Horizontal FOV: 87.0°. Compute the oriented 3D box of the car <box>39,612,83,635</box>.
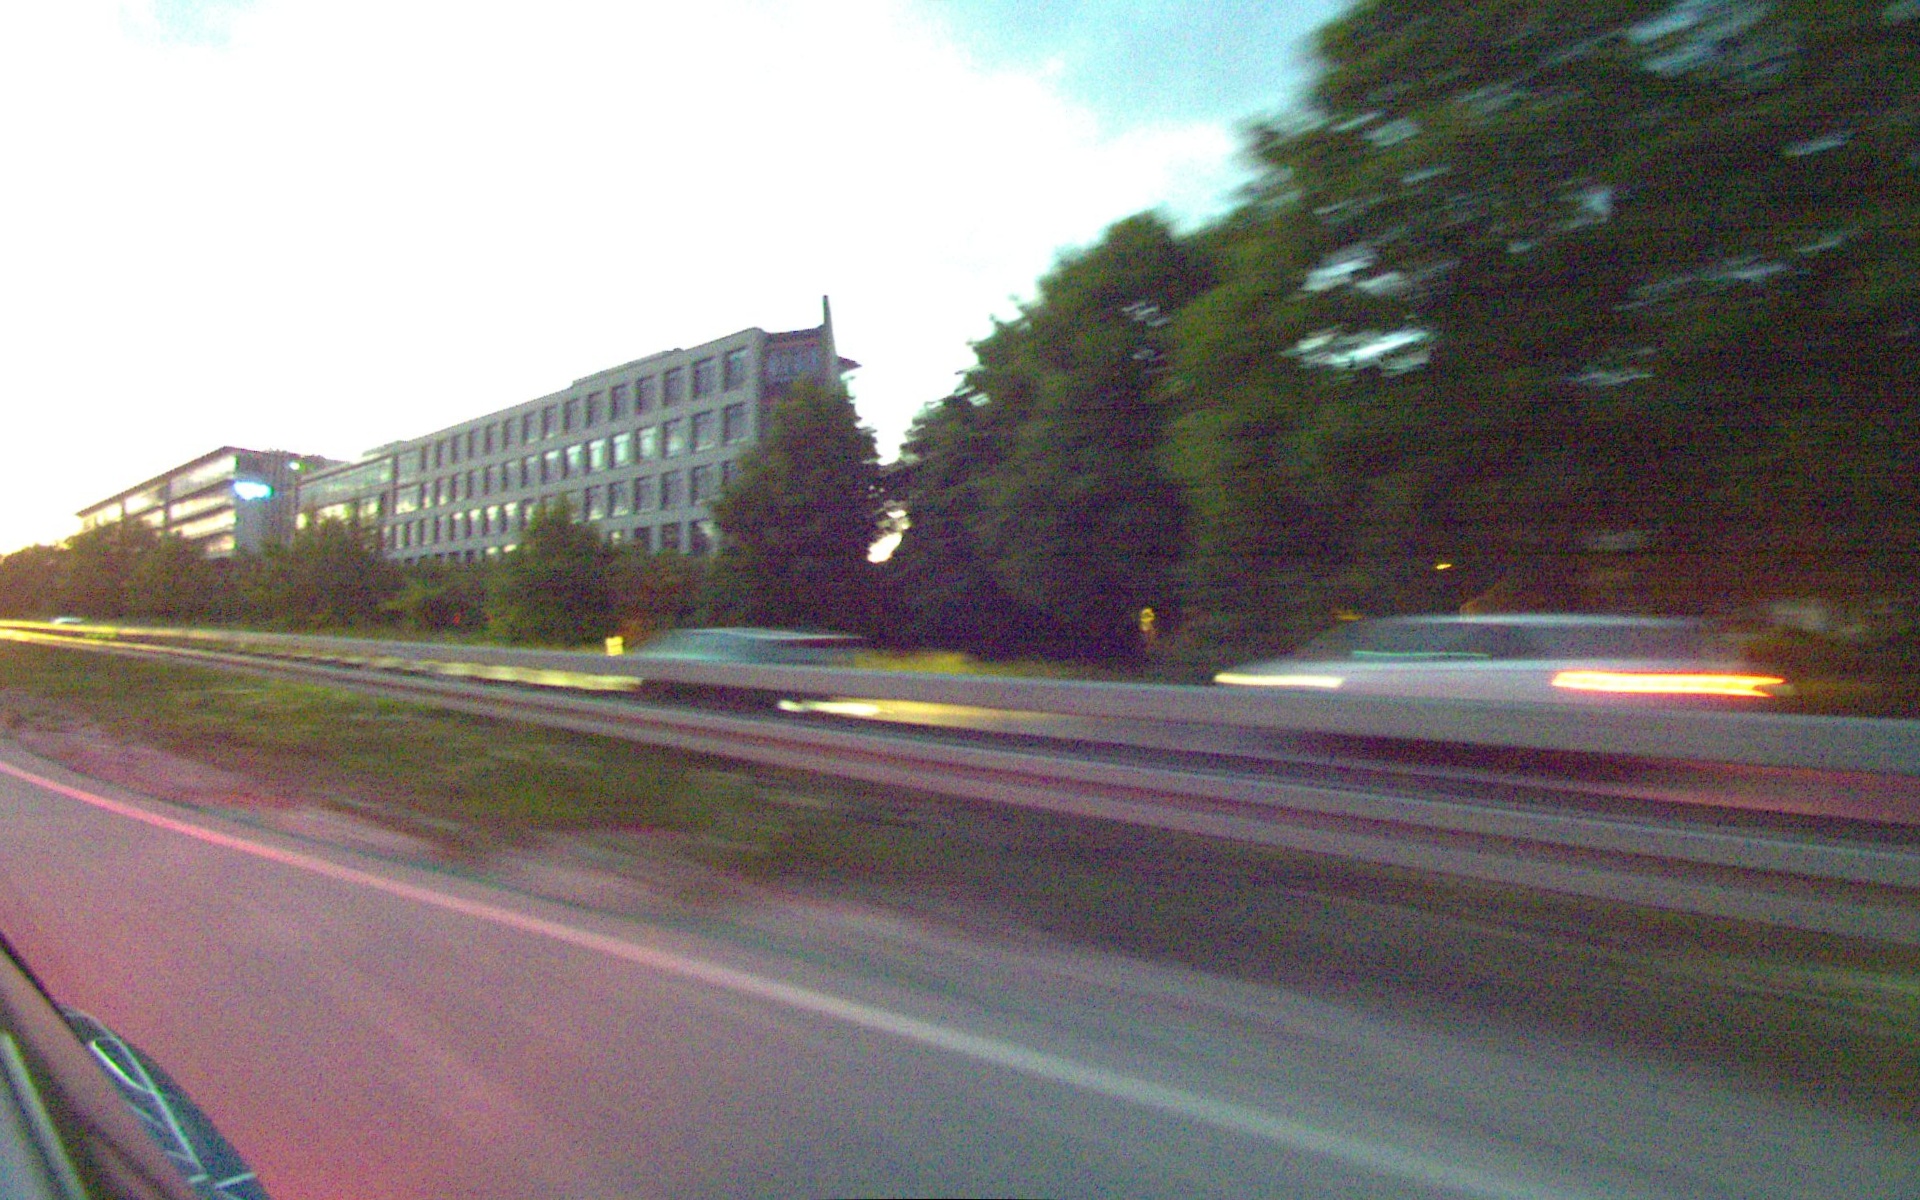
[{"bbox_3d":[-65.741,1.727,74.007,4.657,1.653,1.752,-1,-2,40],"label":"car"}]

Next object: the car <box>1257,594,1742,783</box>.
[{"bbox_3d":[5.591,0.792,10.876,4.307,1.635,1.682,-1,-1,43],"label":"car"}]

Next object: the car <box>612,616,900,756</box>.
[{"bbox_3d":[-2.791,1.004,13.325,3.999,1.545,1.674,-1,-1,42],"label":"car"}]
